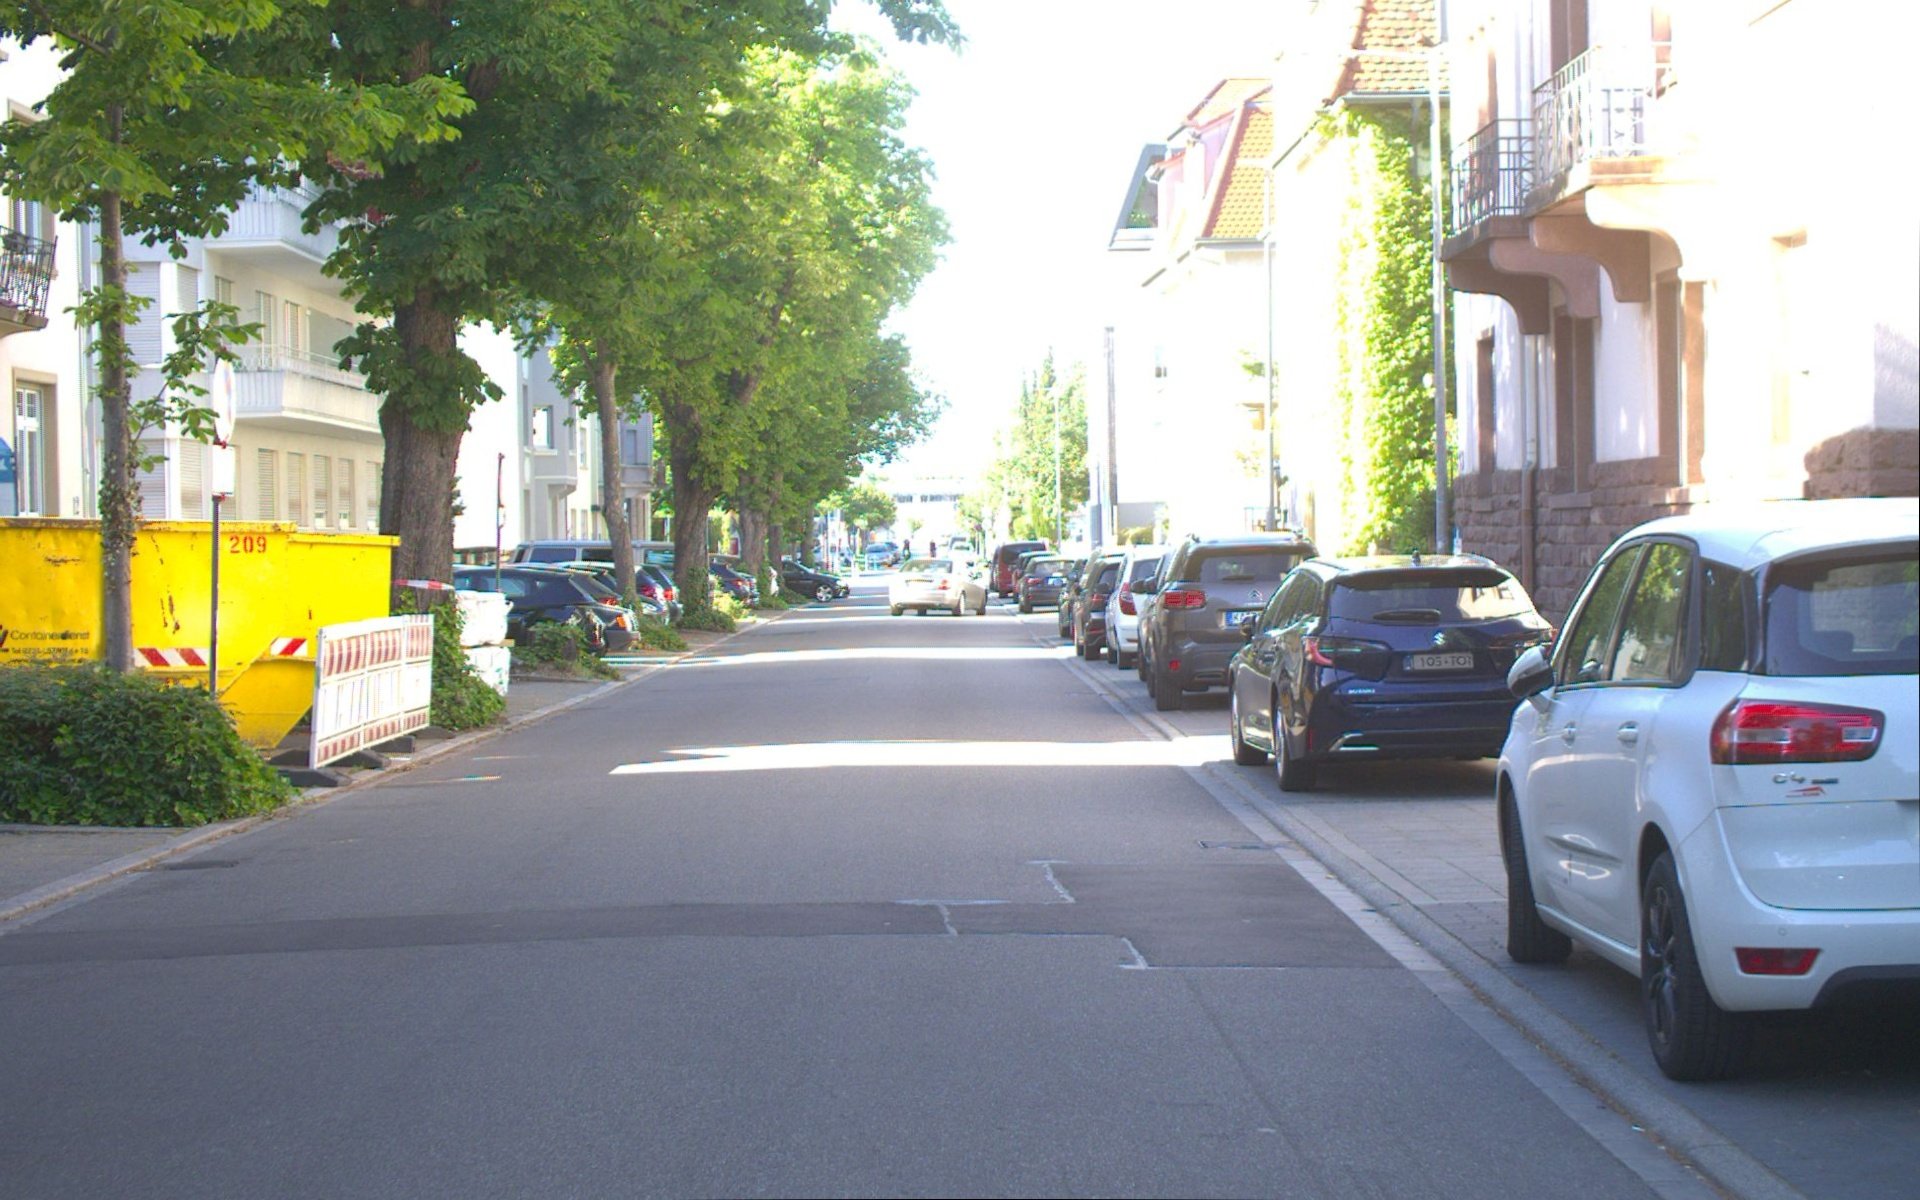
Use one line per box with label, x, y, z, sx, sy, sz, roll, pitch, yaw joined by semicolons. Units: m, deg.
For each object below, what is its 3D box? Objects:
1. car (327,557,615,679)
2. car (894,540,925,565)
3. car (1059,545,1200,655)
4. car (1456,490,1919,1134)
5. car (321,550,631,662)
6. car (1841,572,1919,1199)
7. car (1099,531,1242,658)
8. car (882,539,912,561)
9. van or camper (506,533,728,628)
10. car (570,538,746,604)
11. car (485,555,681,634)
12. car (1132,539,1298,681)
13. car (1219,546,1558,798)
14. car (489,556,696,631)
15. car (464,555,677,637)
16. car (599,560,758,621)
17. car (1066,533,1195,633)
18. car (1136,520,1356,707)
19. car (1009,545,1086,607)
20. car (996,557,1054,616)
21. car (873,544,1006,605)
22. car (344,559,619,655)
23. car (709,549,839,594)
car;-6.867;0.226;48.244;3.869;1.509;1.833;-3;1;-9
car;-3.620;-3.385;244.721;1.872;1.722;4.001;-2;1;-5
car;2.415;-0.004;49.772;1.709;1.431;4.193;-3;0;-1
car;2.840;0.486;10.945;1.867;1.639;4.199;-2;1;0
car;-7.409;0.067;52.587;4.588;1.601;1.833;-1;1;-9
car;2.779;0.662;5.470;1.637;1.417;4.009;-2;1;-1
car;2.748;-0.074;45.457;1.575;1.544;3.469;-3;0;-1
car;-4.612;-3.633;249.740;1.786;1.527;4.001;-1;1;-6
van or camper;-7.251;-0.419;72.997;4.497;1.908;1.964;-1;1;0
car;-7.423;-0.719;84.816;4.186;1.493;1.861;-2;1;-1
car;-7.111;-0.106;65.016;3.478;1.453;1.797;0;1;1
car;2.850;0.109;38.894;1.625;1.544;2.869;0;0;-1
car;2.693;0.388;22.490;1.643;1.449;4.503;-1;1;0
car;-7.182;-0.144;67.442;3.921;1.410;1.716;0;2;-2
car;-7.067;-0.078;62.654;3.644;1.458;1.710;0;1;2
car;-7.330;-0.260;89.739;3.987;1.463;1.697;-2;1;-1
car;2.775;-0.267;56.682;1.791;1.515;4.367;-3;0;-1
car;2.727;0.123;33.610;1.778;1.690;4.320;1;0;0
car;2.213;-0.633;87.782;1.619;1.435;3.935;-4;1;-2
car;2.208;-0.467;117.178;1.871;1.898;5.197;-2;0;1
car;-0.476;-0.633;84.545;1.729;1.415;3.955;0;1;25
car;-7.653;0.102;55.251;4.187;1.436;1.713;-1;1;-1
car;-6.188;-0.962;114.796;4.189;1.443;1.712;1;0;2
